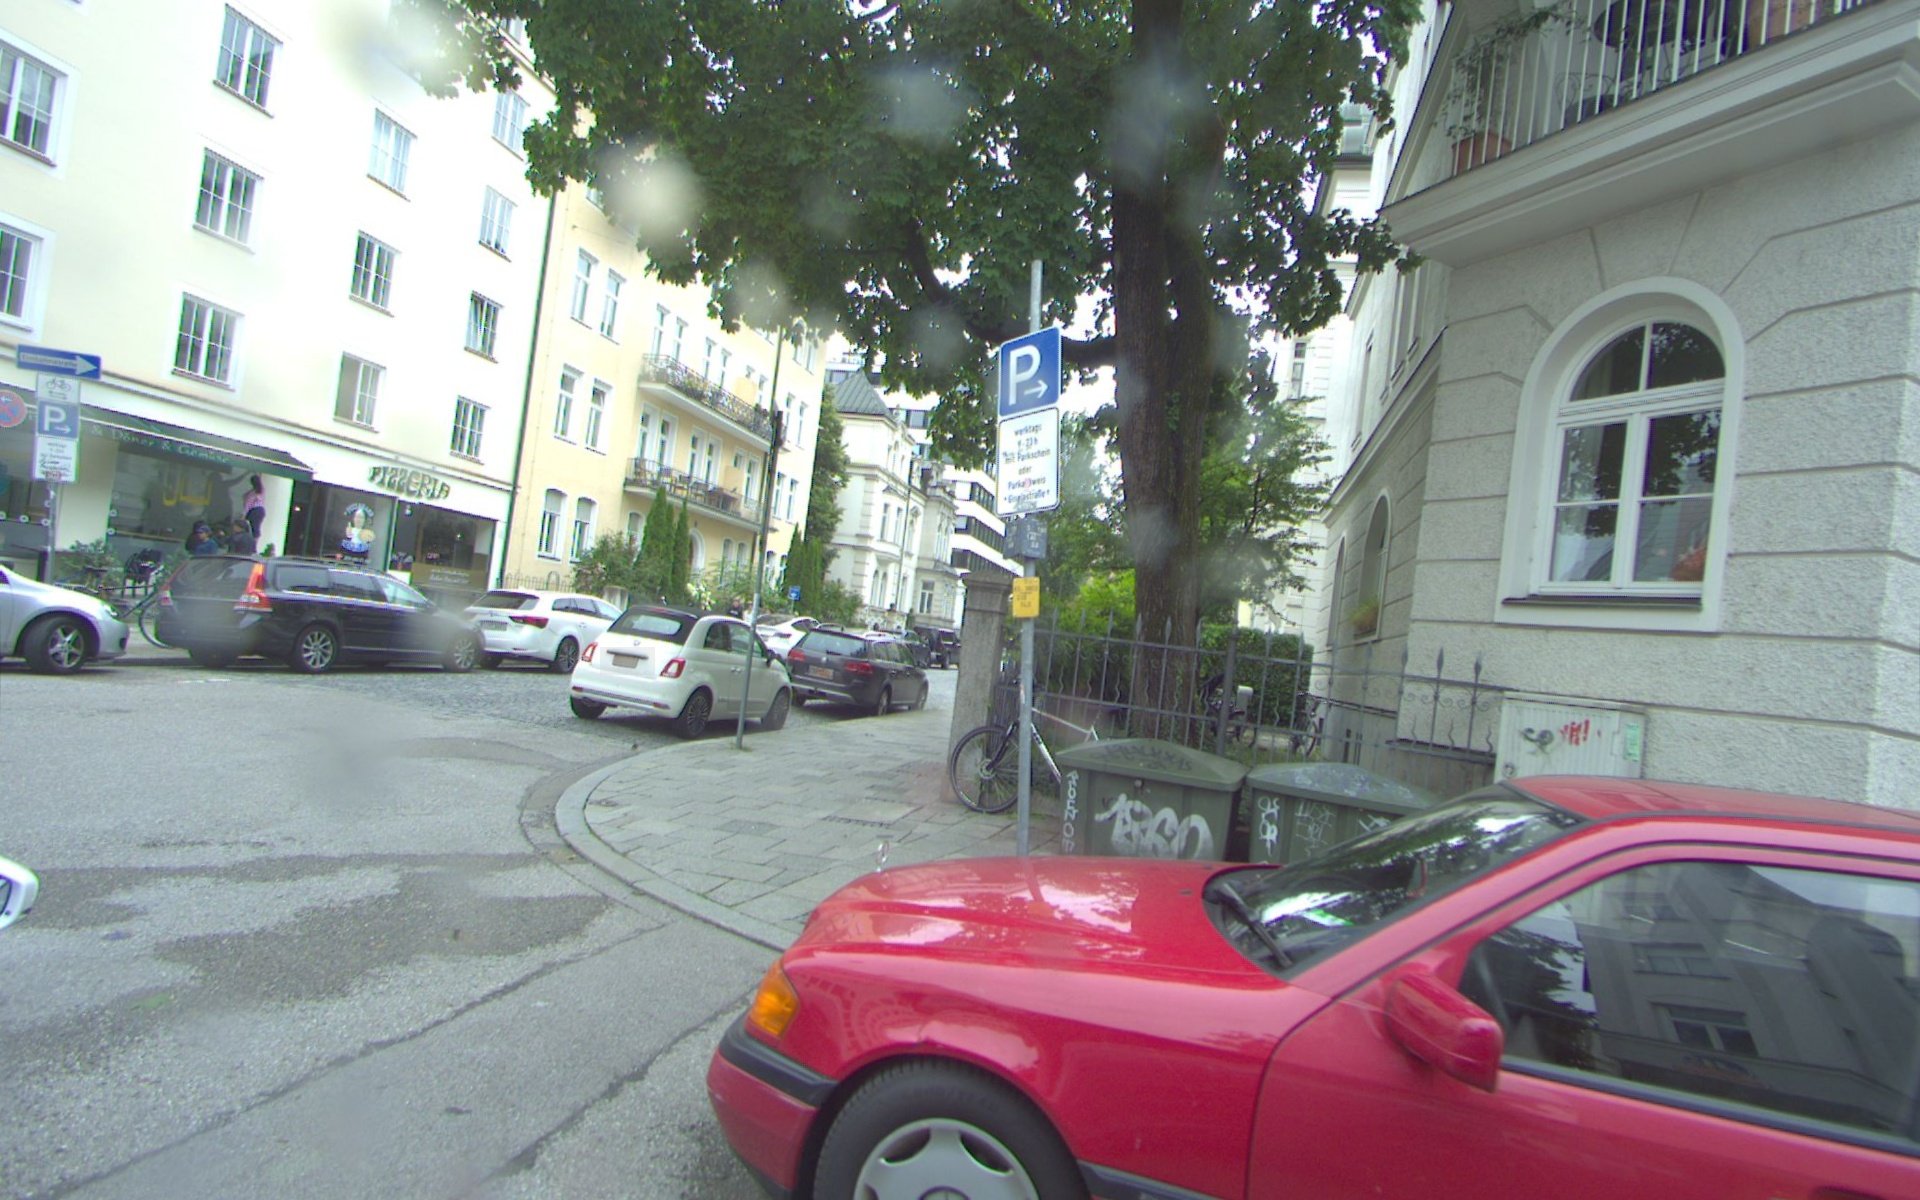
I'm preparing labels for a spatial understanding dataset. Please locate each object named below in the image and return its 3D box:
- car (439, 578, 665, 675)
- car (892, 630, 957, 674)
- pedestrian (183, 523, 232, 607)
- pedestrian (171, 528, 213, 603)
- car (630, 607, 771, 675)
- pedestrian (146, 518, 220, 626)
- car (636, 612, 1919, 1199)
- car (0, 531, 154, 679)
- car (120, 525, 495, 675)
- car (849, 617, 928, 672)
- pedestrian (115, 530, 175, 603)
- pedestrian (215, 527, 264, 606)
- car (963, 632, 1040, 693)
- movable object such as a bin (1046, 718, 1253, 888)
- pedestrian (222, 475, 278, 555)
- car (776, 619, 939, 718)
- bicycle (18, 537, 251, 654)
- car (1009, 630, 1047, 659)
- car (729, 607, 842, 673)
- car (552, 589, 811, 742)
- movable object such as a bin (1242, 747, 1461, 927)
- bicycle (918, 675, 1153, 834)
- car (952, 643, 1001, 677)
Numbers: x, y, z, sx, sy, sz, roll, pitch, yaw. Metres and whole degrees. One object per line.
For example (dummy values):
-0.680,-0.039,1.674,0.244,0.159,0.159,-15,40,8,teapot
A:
-7.658,0.603,19.412,1.786,1.519,4.357,5,-3,12,car
-1.495,2.285,43.661,1.697,1.639,4.005,7,-2,13,car
-14.875,-0.693,19.899,0.552,1.555,0.431,9,0,-32,pedestrian
-15.674,-0.713,20.547,0.509,1.450,0.577,8,-1,-36,pedestrian
-6.476,1.097,25.565,1.776,1.465,4.006,4,-3,12,car
-13.172,-0.457,17.063,0.533,1.722,0.605,9,0,14,pedestrian
1.544,1.058,2.309,4.136,1.451,1.676,7,-2,22,car
-10.584,-0.067,9.649,1.788,1.431,4.002,3,-4,24,car
-9.005,0.145,14.436,1.786,1.609,4.357,8,-3,12,car
-2.668,1.769,38.744,1.781,1.792,4.005,7,-2,13,car
-15.571,-0.633,19.237,0.573,1.312,0.513,7,-1,-8,pedestrian
-14.962,-0.691,20.903,0.525,1.569,0.434,7,-1,-5,pedestrian
1.455,2.086,33.342,1.673,1.709,4.005,7,-2,13,car
1.344,1.364,7.017,1.196,0.875,0.904,7,-2,20,movable object such as a bin
-15.221,-1.815,21.584,0.567,1.592,0.555,7,-3,13,pedestrian
-1.761,1.266,18.760,1.674,1.423,4.206,7,-2,12,car
-11.159,-0.012,13.721,1.085,1.267,2.093,8,-3,14,bicycle
4.918,3.232,72.465,1.928,1.792,4.005,7,-2,13,car
-5.134,1.253,30.181,1.720,1.656,4.006,4,-3,14,car
-3.432,0.849,13.062,1.597,1.504,3.336,8,-2,15,car
2.590,1.528,6.738,1.196,0.854,0.904,7,-2,20,movable object such as a bin
0.609,1.216,8.193,1.771,1.052,0.482,4,-2,21,bicycle
0.972,3.397,56.513,1.781,1.639,4.005,7,-2,13,car
